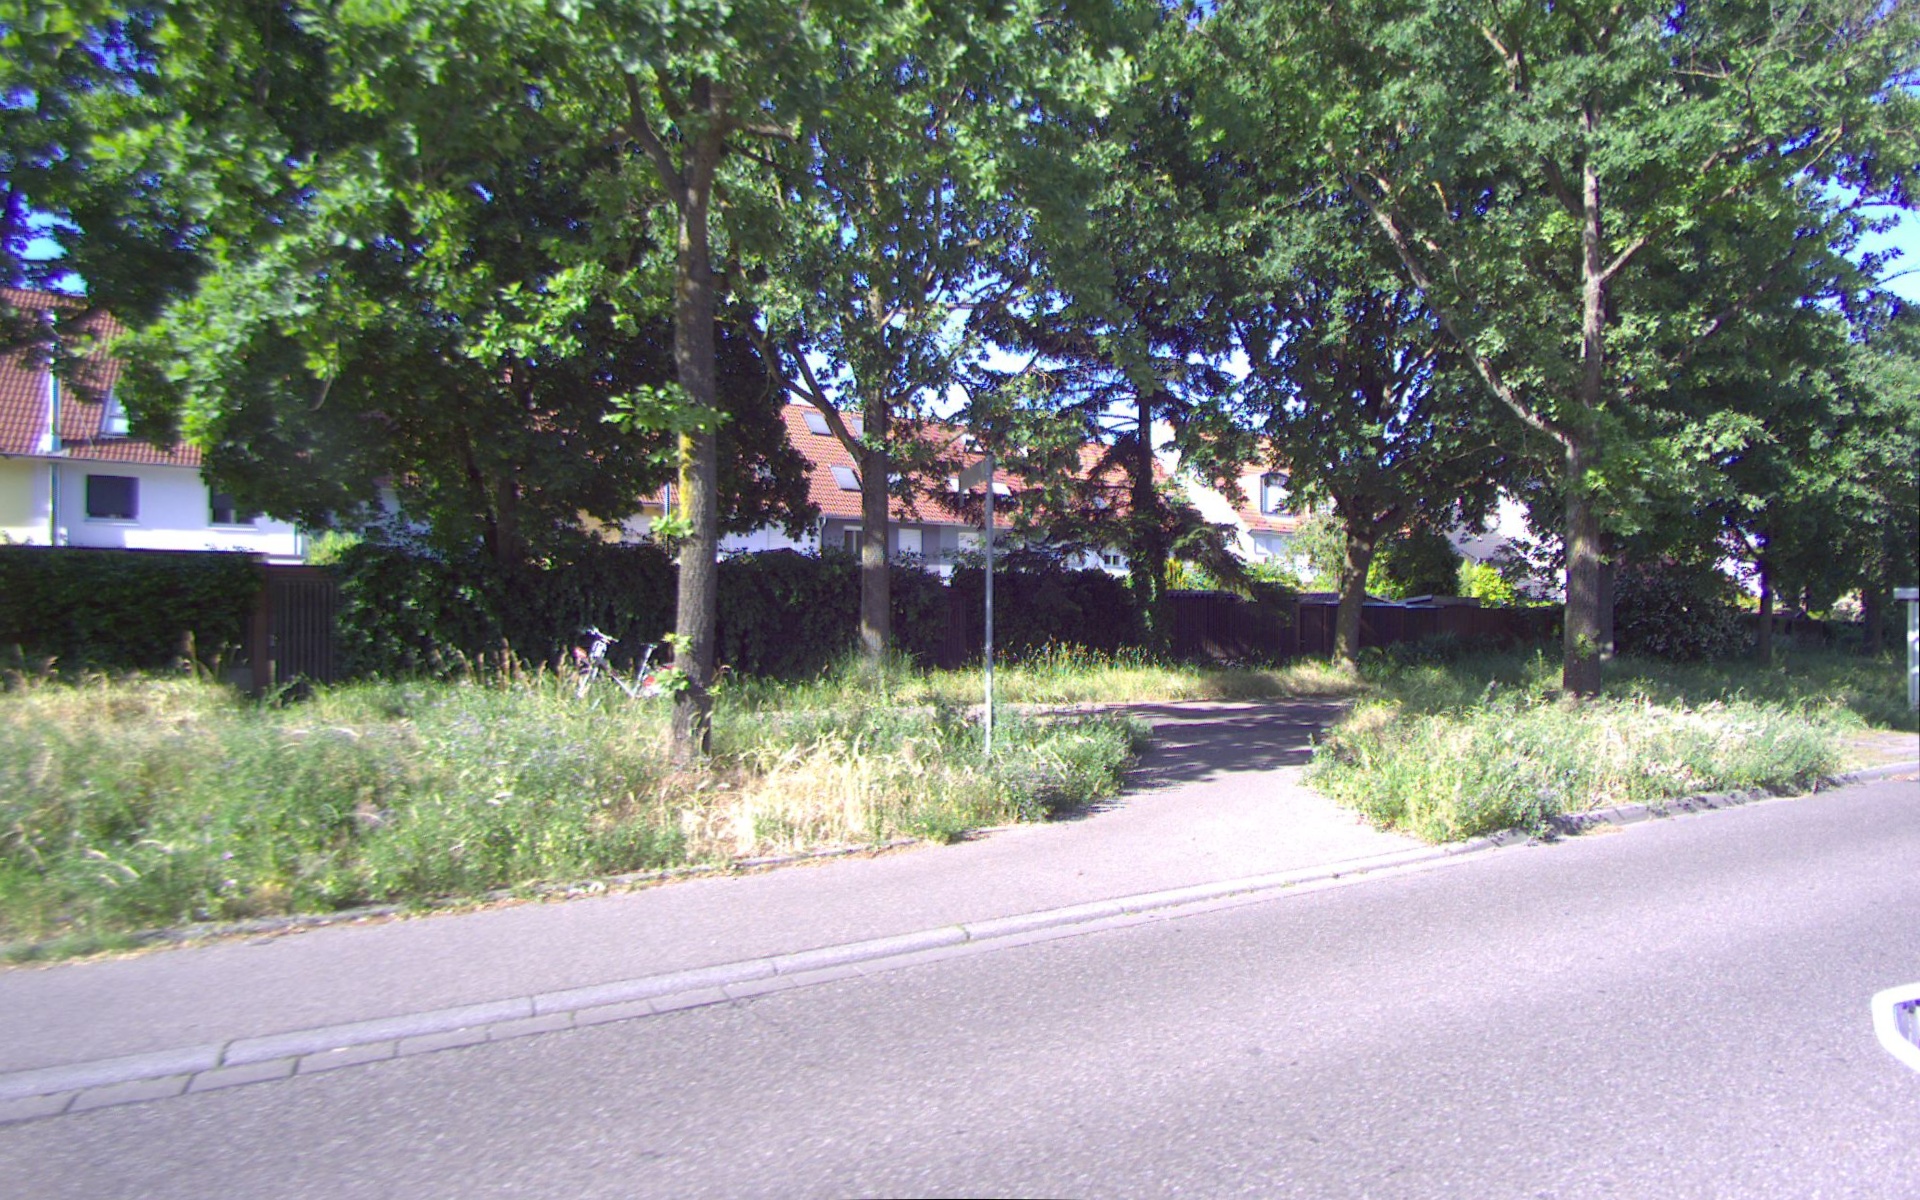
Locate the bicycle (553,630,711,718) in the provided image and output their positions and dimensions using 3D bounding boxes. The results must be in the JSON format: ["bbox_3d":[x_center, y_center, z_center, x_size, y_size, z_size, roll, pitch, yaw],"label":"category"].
[{"bbox_3d":[-4.213,0.934,12.963,1.858,1.067,0.503,2,-1,-31],"label":"bicycle"}]
